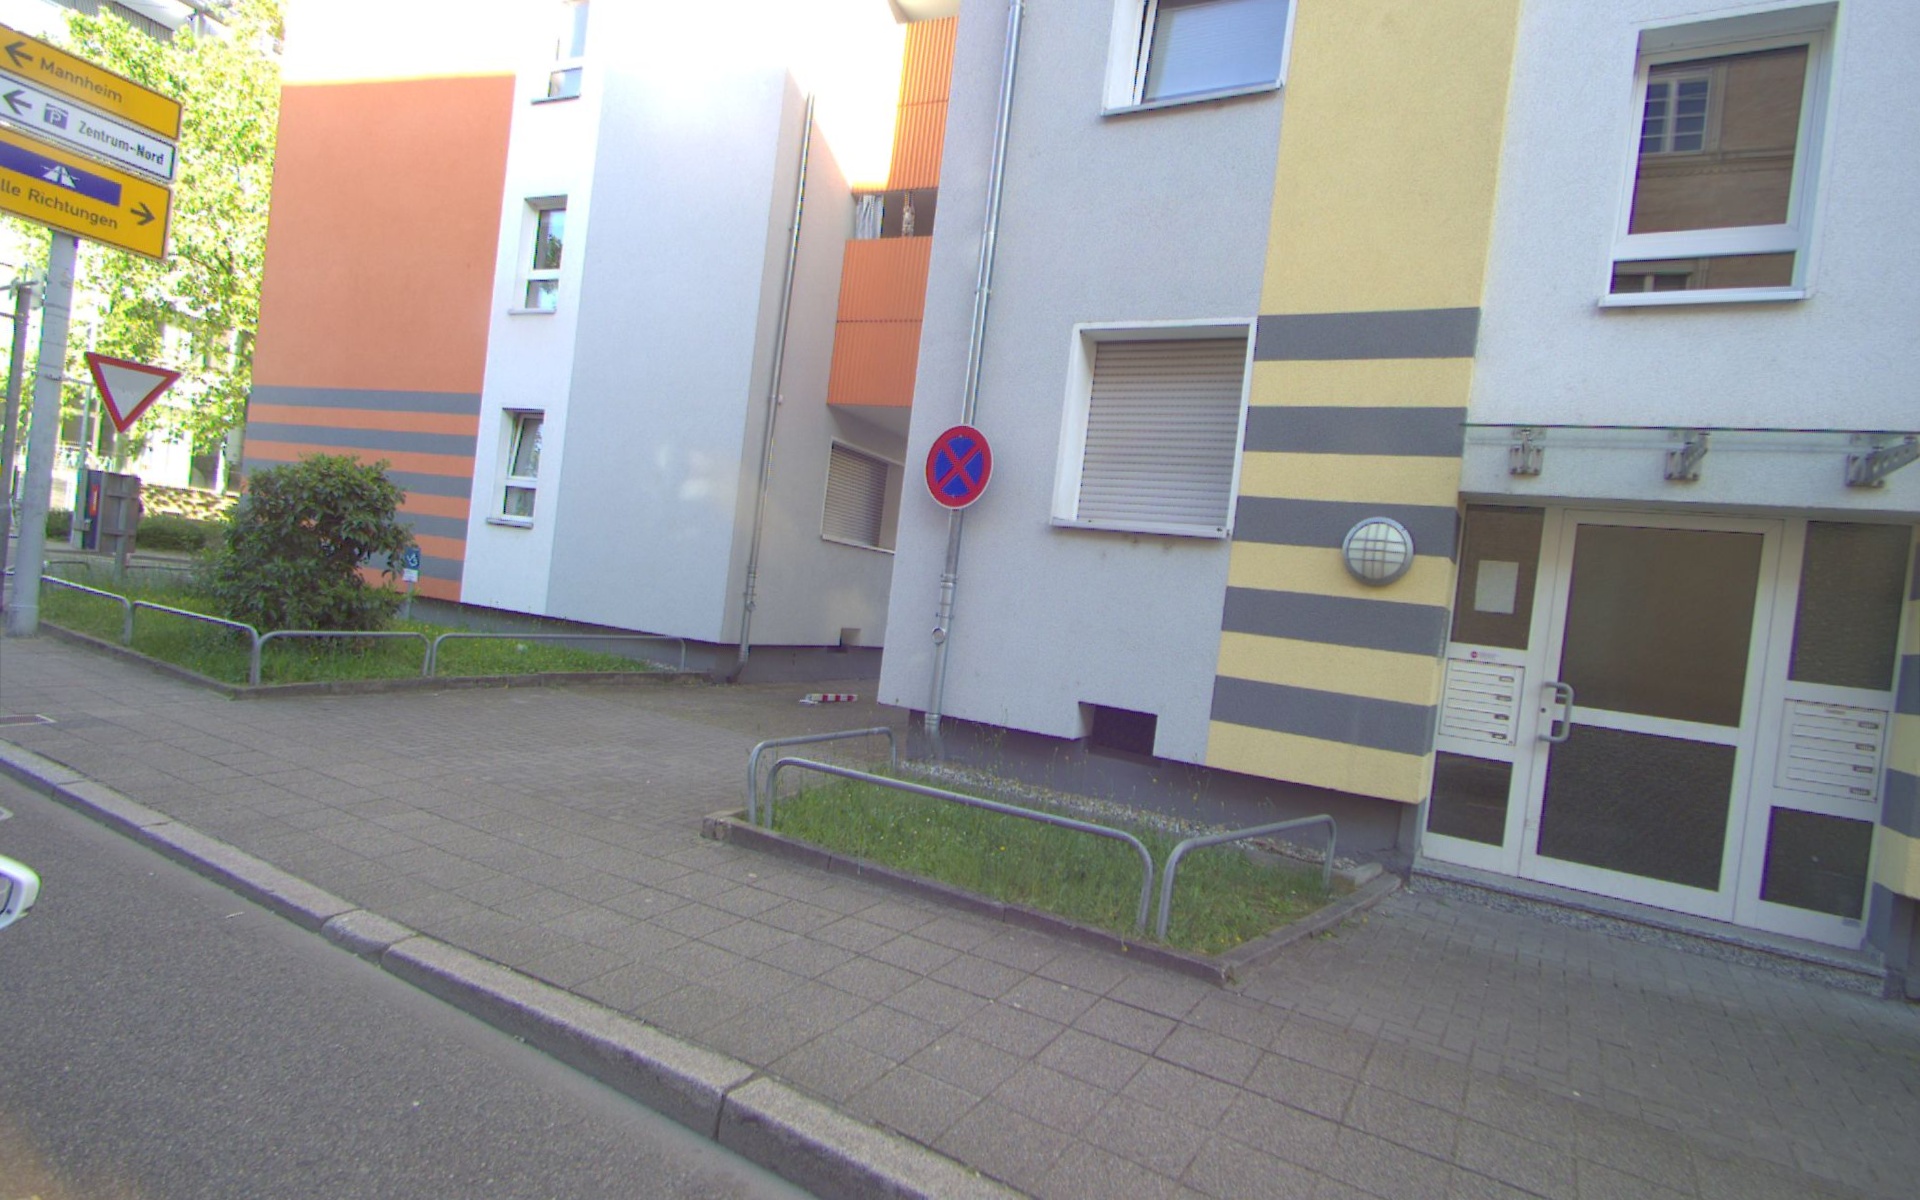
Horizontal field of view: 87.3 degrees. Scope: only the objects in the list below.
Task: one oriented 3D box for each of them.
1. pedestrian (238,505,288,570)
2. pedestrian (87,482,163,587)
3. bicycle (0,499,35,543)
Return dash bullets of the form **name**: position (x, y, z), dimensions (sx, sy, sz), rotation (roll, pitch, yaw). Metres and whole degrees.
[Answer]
- **pedestrian**: position (-21.926, -1.966, 31.652), dimensions (0.696, 1.861, 0.837), rotation (8, -1, 22)
- **pedestrian**: position (-16.010, -1.253, 19.288), dimensions (0.823, 1.861, 0.708), rotation (8, -1, 32)
- **bicycle**: position (-26.297, -2.231, 27.354), dimensions (1.658, 1.063, 0.508), rotation (9, 2, -3)
